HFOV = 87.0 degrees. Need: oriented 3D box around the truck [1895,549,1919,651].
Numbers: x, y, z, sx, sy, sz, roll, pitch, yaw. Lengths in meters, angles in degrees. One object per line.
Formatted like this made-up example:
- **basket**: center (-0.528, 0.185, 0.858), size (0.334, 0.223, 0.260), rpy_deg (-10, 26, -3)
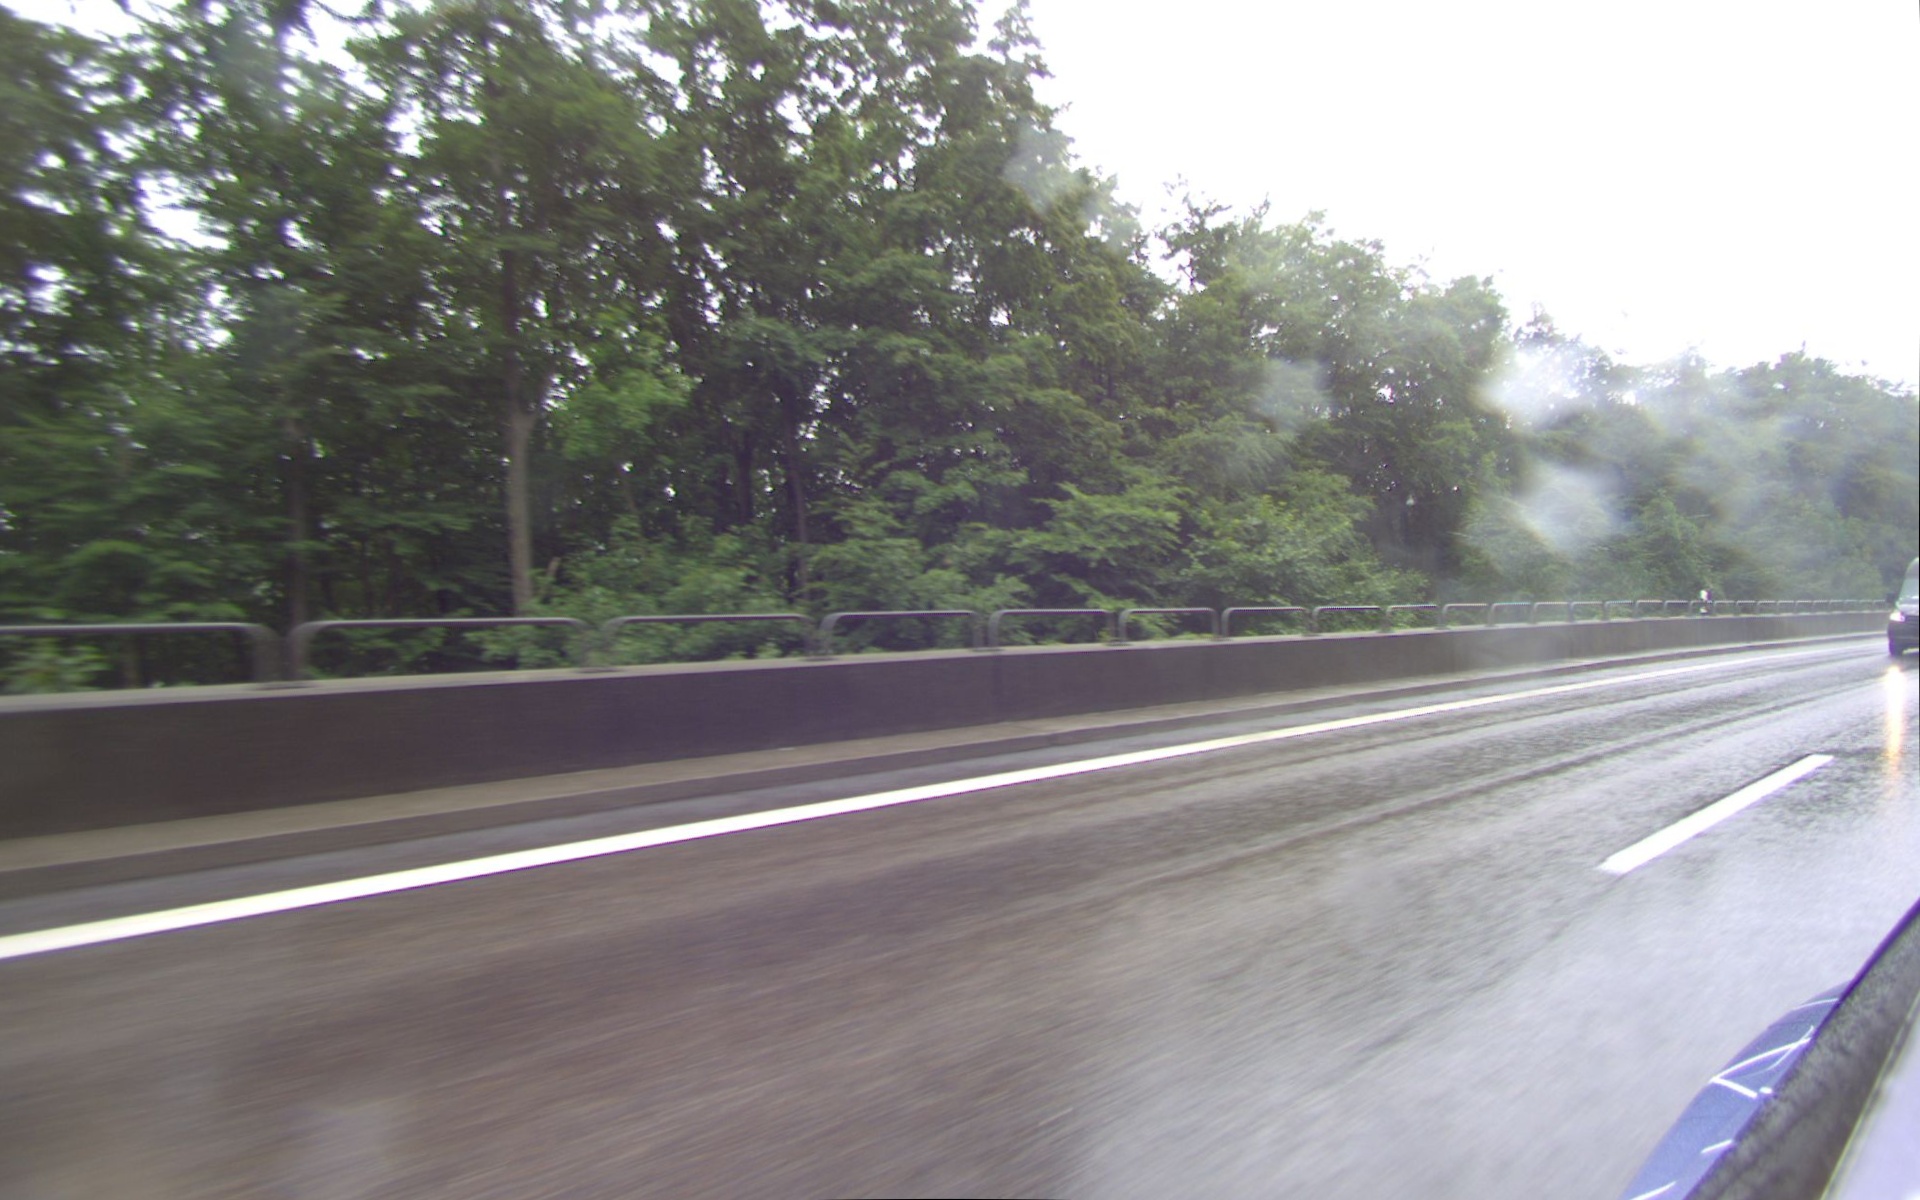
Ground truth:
- **truck**: center (27.286, -0.006, 27.170), size (7.859, 2.527, 2.108), rpy_deg (0, 2, -39)
